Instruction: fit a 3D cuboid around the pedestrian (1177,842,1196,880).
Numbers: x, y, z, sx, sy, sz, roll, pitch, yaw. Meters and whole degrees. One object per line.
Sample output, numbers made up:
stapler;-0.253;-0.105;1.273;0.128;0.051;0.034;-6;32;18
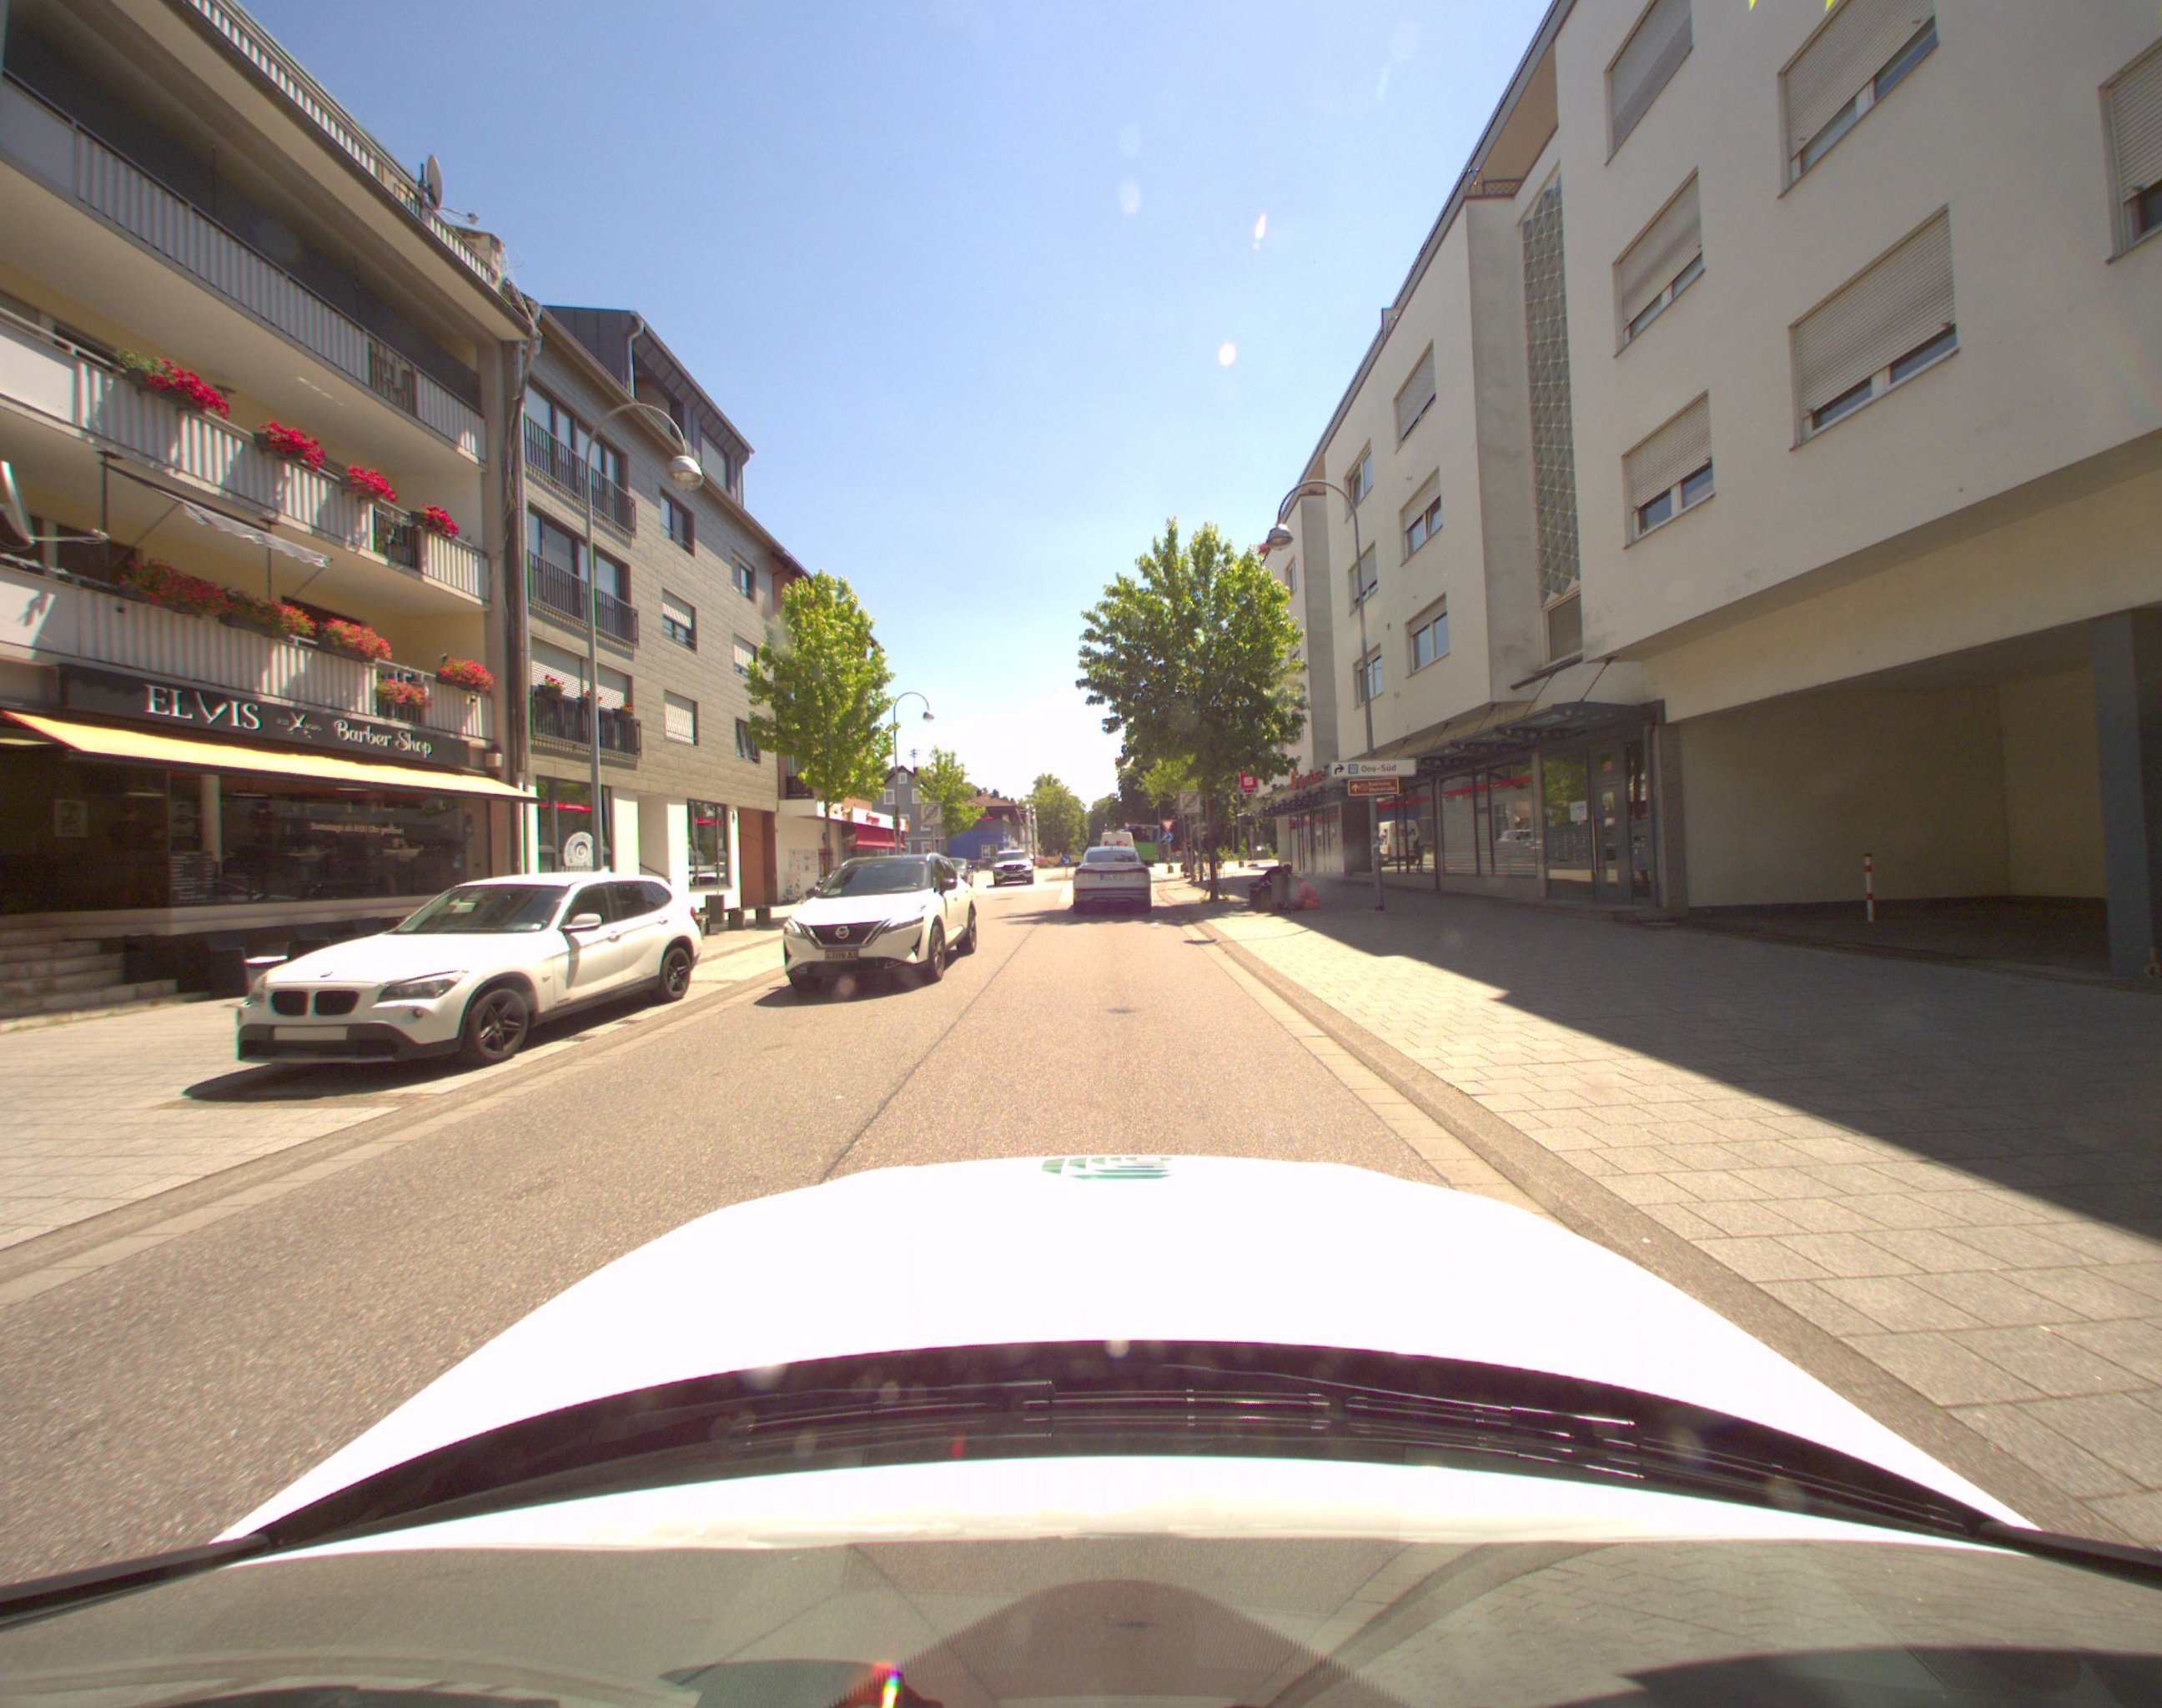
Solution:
pedestrian;4.575;0.302;35.343;0.729;1.610;0.560;-3;0;3

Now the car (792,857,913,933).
car;-5.084;0.854;18.612;1.615;1.473;3.550;-2;0;2

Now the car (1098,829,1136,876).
car;2.076;-0.079;47.382;1.986;2.481;5.487;-2;0;2

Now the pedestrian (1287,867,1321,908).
pedestrian;4.959;0.740;18.132;0.672;0.852;0.540;-3;-1;15

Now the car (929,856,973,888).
car;-6.362;0.843;40.308;1.662;1.486;4.057;0;0;-2

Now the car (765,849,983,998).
car;-2.621;0.789;11.417;1.764;1.633;4.301;-2;0;2

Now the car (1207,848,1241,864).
car;15.202;0.258;86.638;3.052;1.552;1.627;-3;0;-12

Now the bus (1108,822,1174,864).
bus;4.898;-0.749;71.152;3.697;3.171;18.051;0;0;-2

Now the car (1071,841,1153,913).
car;0.805;0.526;21.088;1.891;1.662;4.412;-1;0;2

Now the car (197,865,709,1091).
car;-5.618;0.941;8.159;1.688;1.592;4.301;-1;0;2

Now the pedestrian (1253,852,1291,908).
pedestrian;4.403;0.600;18.732;0.754;1.240;0.540;-3;-1;15

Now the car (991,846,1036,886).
car;-3.364;0.581;41.309;1.895;1.754;4.754;-4;0;-2
